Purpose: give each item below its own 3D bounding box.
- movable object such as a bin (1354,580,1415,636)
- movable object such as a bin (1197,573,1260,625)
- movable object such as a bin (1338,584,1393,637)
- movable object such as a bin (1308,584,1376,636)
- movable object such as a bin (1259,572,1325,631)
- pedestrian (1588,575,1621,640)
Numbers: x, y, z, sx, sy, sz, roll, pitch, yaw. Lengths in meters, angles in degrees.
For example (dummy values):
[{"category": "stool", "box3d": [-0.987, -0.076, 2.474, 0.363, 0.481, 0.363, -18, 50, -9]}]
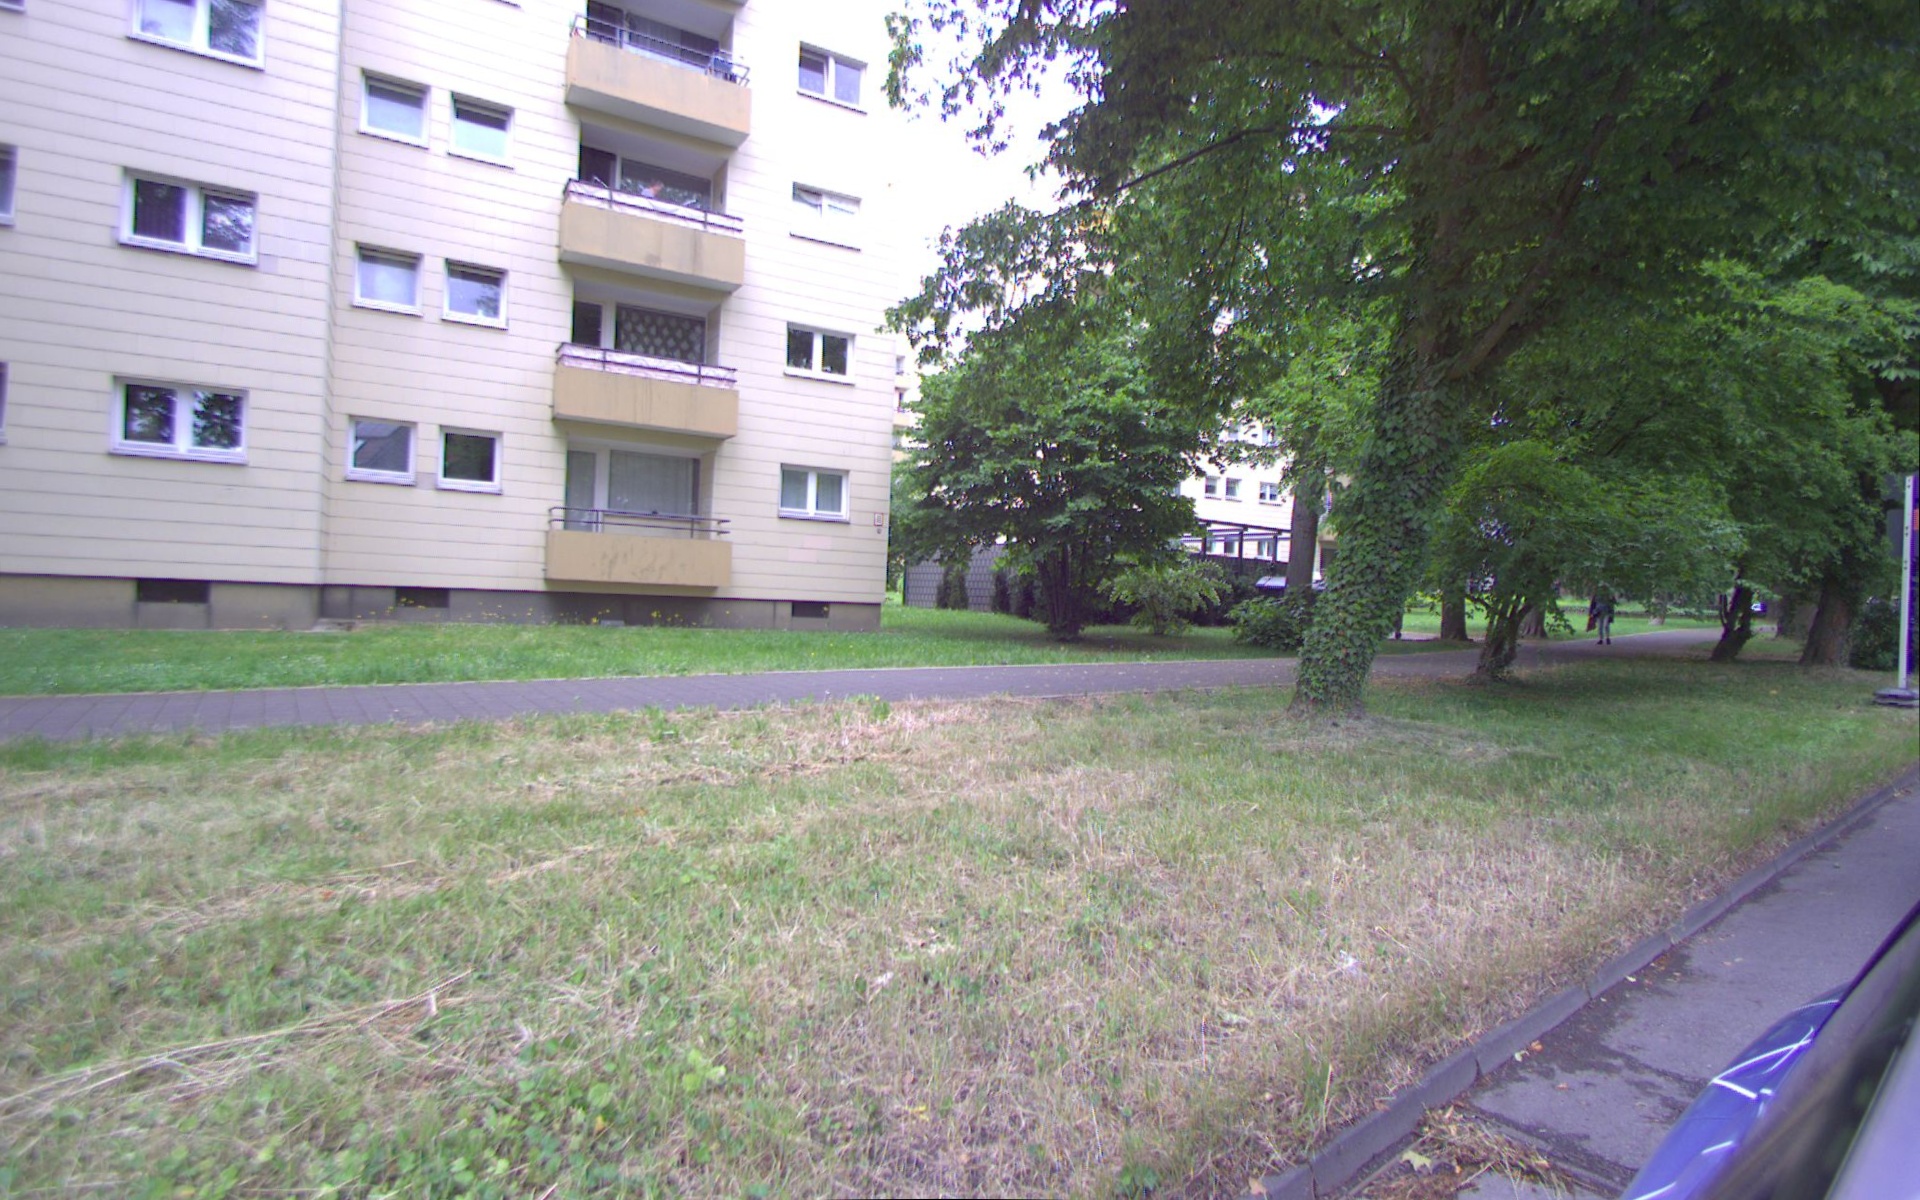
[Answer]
[{"category": "movable object such as a bin", "box3d": [11.356, 0.205, 27.065, 1.190, 1.431, 1.094, 3, 2, 41]}, {"category": "movable object such as a bin", "box3d": [7.415, -0.031, 27.916, 1.190, 1.358, 1.328, 3, 2, 41]}, {"category": "movable object such as a bin", "box3d": [10.555, 0.265, 26.346, 1.022, 1.320, 0.946, 3, 2, 41]}, {"category": "movable object such as a bin", "box3d": [9.667, 0.244, 25.573, 1.190, 1.236, 1.328, 3, 2, 41]}, {"category": "movable object such as a bin", "box3d": [8.677, 0.028, 26.444, 1.190, 1.475, 1.328, 3, 2, 41]}, {"category": "pedestrian", "box3d": [17.987, 0.200, 28.249, 0.560, 1.761, 0.565, 1, 2, -41]}]
